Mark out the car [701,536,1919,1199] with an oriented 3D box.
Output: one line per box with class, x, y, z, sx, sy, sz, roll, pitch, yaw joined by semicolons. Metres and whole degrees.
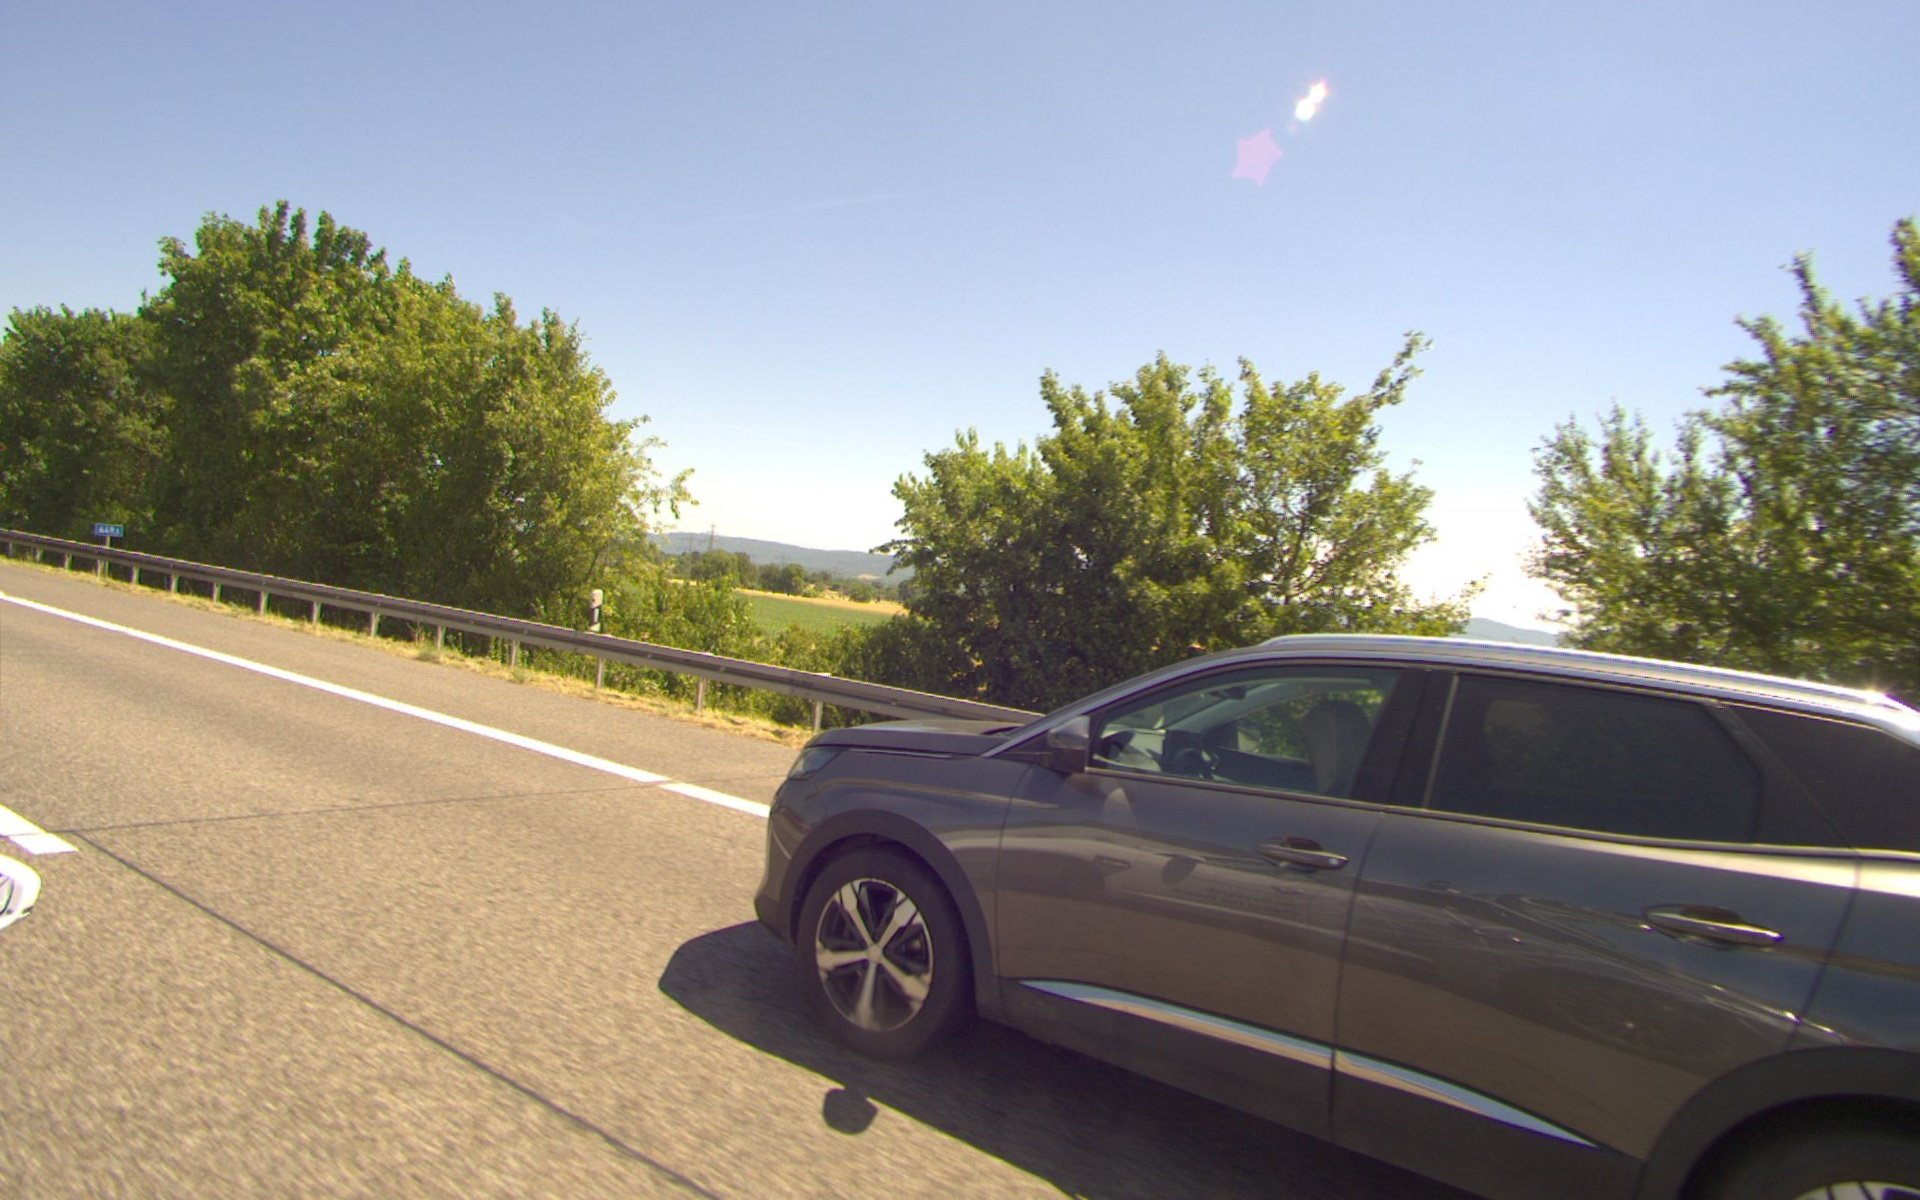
car;1.320;0.872;3.443;4.066;1.648;1.848;7;-1;32
